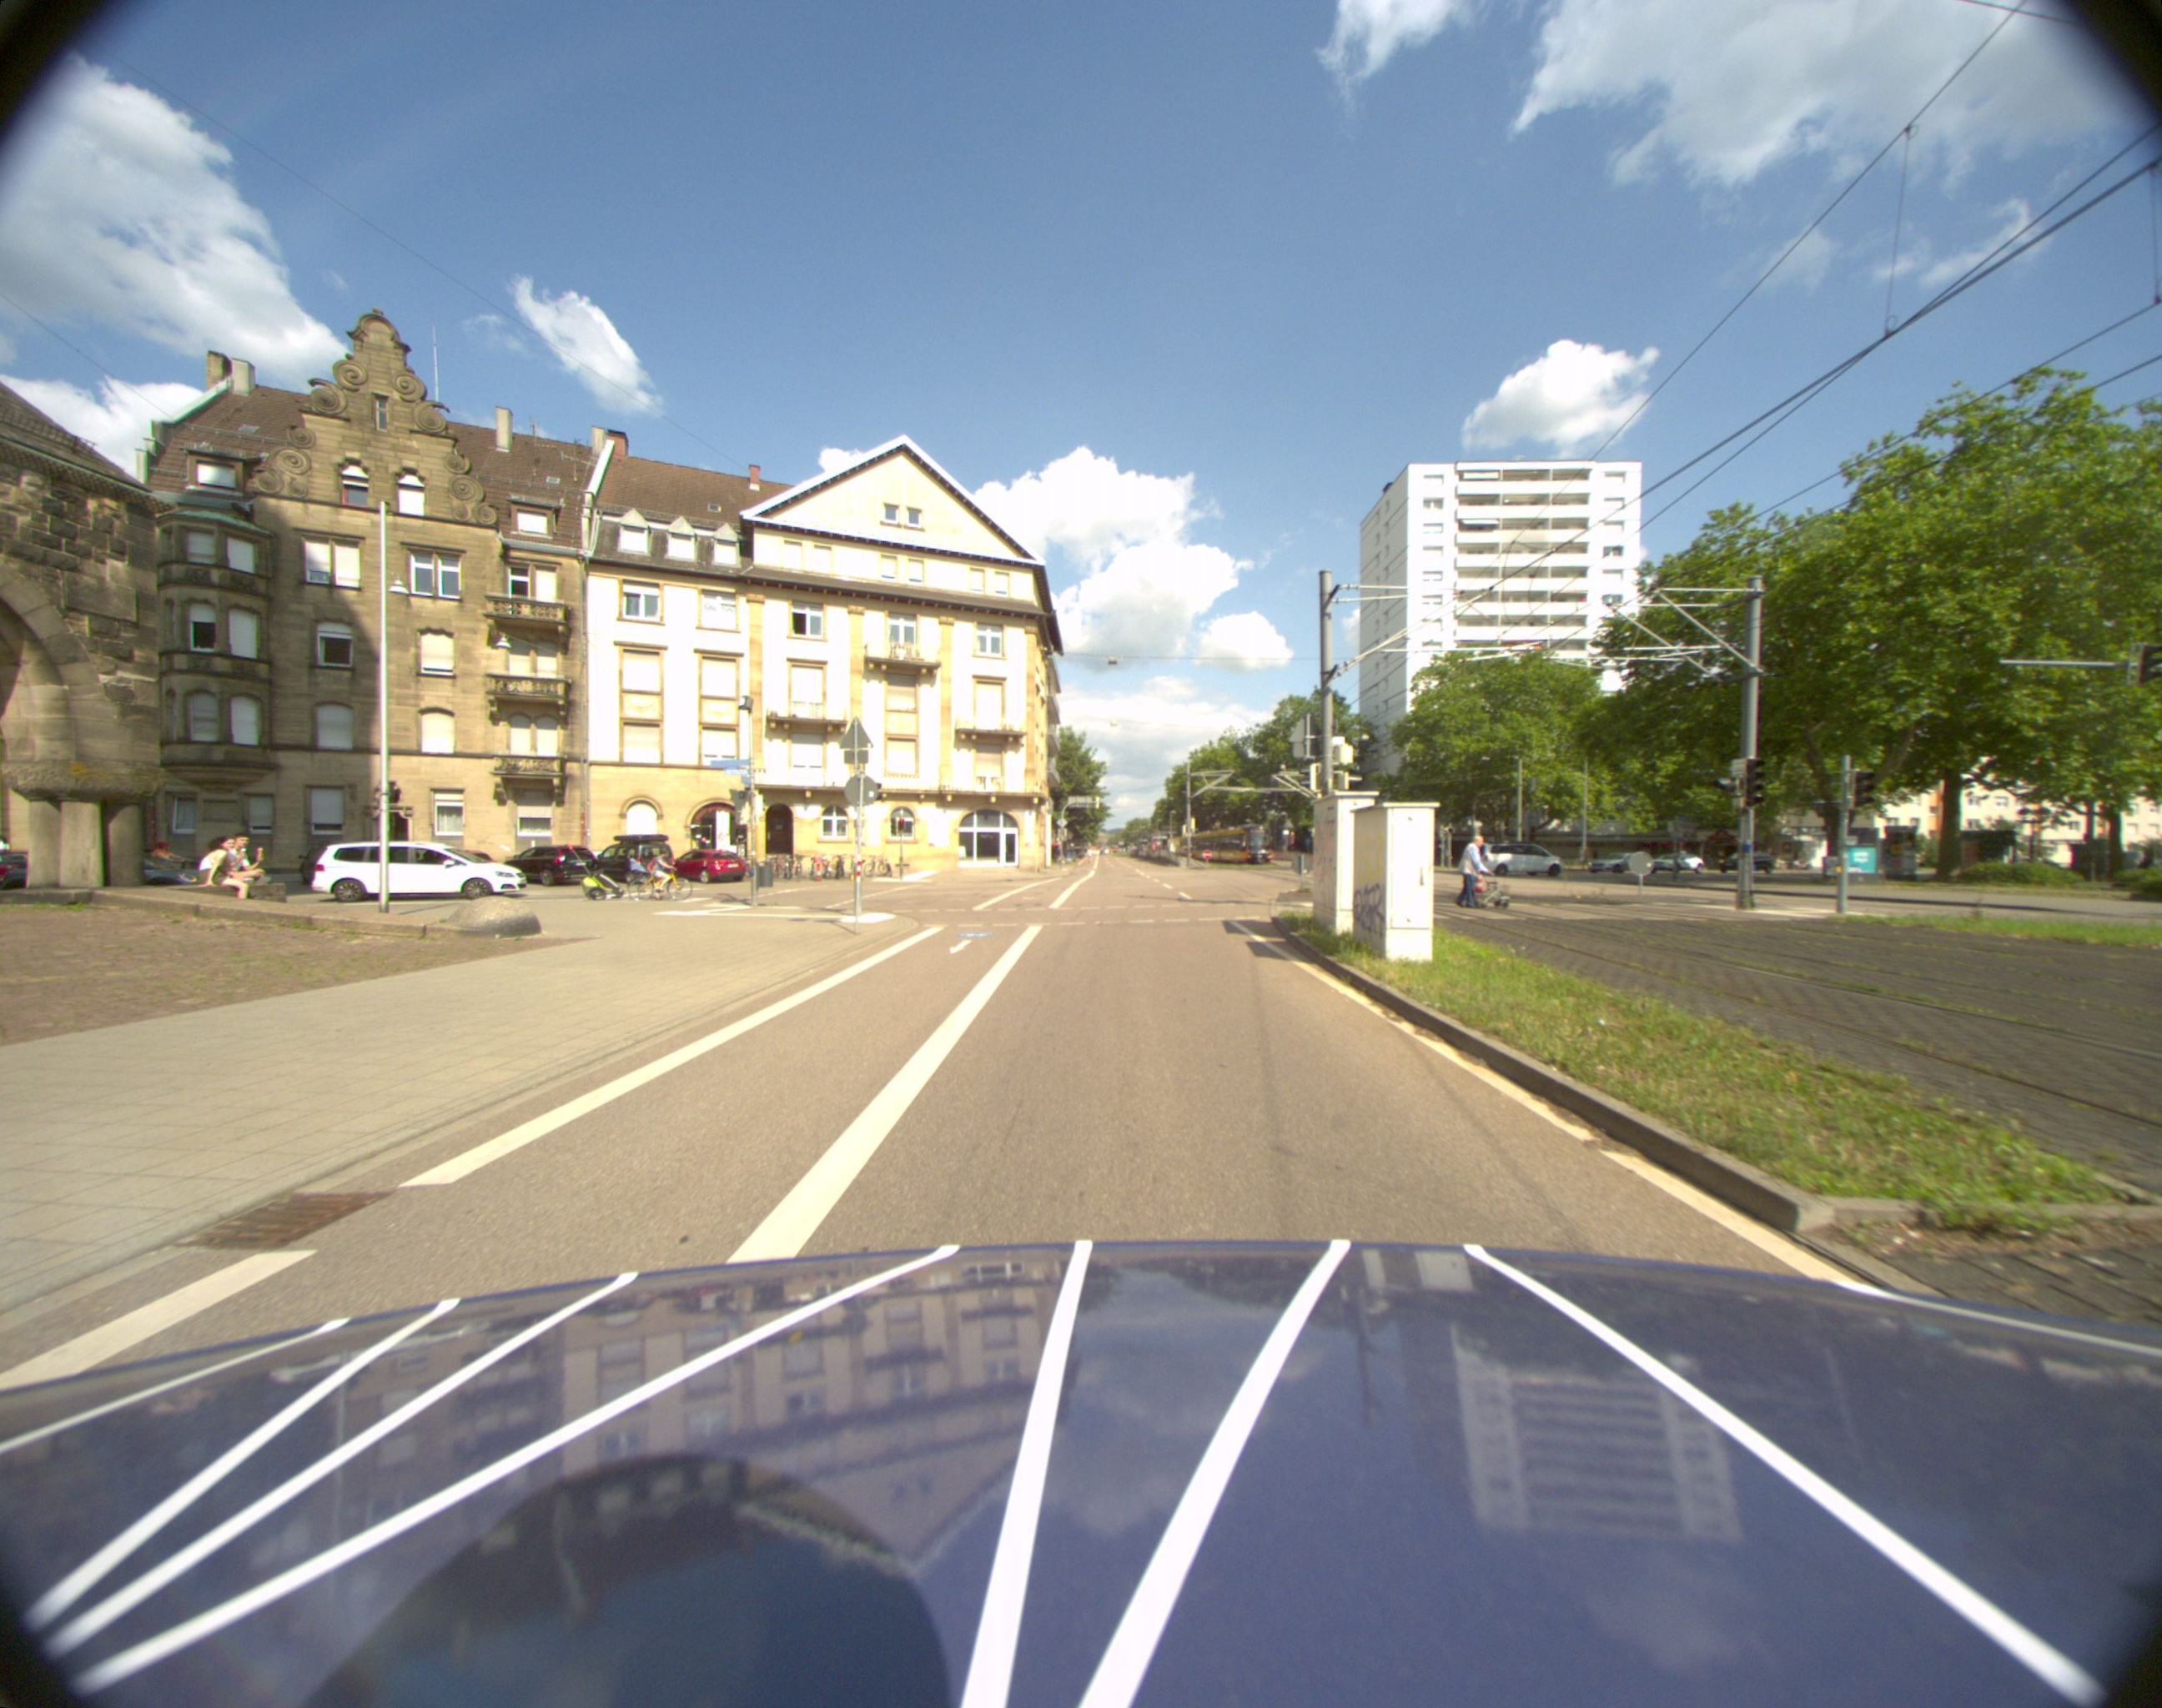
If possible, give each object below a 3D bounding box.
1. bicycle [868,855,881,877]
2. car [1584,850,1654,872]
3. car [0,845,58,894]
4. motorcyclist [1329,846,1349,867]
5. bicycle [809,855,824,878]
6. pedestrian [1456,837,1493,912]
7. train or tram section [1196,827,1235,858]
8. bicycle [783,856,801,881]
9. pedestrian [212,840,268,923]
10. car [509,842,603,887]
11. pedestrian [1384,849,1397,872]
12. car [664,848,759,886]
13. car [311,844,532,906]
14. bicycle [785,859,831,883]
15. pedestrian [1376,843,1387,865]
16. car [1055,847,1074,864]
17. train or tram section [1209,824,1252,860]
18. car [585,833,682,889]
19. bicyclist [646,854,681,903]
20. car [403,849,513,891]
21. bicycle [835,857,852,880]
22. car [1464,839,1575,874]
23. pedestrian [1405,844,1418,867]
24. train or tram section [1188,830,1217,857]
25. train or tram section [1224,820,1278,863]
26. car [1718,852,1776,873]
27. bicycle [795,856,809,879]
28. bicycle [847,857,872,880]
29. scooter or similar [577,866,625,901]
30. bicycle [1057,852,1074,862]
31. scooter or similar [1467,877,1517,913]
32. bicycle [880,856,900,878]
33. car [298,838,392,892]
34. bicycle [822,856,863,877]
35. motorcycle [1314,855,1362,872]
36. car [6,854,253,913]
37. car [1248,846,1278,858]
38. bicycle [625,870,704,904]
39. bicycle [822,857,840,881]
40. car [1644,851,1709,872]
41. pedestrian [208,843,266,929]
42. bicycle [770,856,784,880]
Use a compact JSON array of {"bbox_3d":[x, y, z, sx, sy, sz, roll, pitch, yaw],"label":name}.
[{"bbox_3d":[-10.541,0.618,38.756,0.610,1.013,1.873,0,3,-14],"label":"bicycle"},{"bbox_3d":[37.870,0.493,53.517,4.002,1.481,1.858,0,1,-15],"label":"car"},{"bbox_3d":[-36.792,0.514,26.033,3.764,1.448,1.609,3,3,30],"label":"car"},{"bbox_3d":[14.847,0.128,43.782,0.976,1.210,0.699,0,1,8],"label":"motorcyclist"},{"bbox_3d":[-13.123,0.618,37.744,0.541,1.013,1.924,-1,3,-24],"label":"bicycle"},{"bbox_3d":[9.095,0.462,17.574,0.528,1.722,0.557,0,1,-3],"label":"pedestrian"},{"bbox_3d":[16.091,-1.404,91.972,2.813,3.540,12.155,0,1,1],"label":"train or tram section"},{"bbox_3d":[-13.752,0.678,36.139,0.541,1.013,1.923,-1,4,-28],"label":"bicycle"},{"bbox_3d":[-14.794,0.481,13.379,0.557,1.398,0.519,4,-3,45],"label":"pedestrian"},{"bbox_3d":[-22.341,0.414,32.316,3.988,1.659,1.714,3,3,30],"label":"car"},{"bbox_3d":[22.896,0.496,56.225,0.671,1.693,0.648,0,1,4],"label":"pedestrian"},{"bbox_3d":[-16.842,0.554,34.619,3.988,1.433,1.971,3,3,30],"label":"car"},{"bbox_3d":[-19.601,0.563,22.876,4.669,1.730,1.811,0,1,-24],"label":"car"},{"bbox_3d":[-12.559,0.756,35.032,1.932,1.013,0.538,-2,4,-40],"label":"bicycle"},{"bbox_3d":[23.379,0.019,59.128,0.671,1.693,0.648,0,1,4],"label":"pedestrian"},{"bbox_3d":[-1.796,0.169,83.564,1.851,1.779,3.999,2,1,1],"label":"car"},{"bbox_3d":[15.670,-1.233,80.340,2.812,3.540,11.181,0,1,2],"label":"train or tram section"},{"bbox_3d":[-19.826,0.239,33.629,3.987,2.072,1.971,6,5,30],"label":"car"},{"bbox_3d":[-12.943,0.735,23.591,0.923,1.495,0.651,0,1,-28],"label":"bicyclist"},{"bbox_3d":[-25.533,0.613,31.126,3.989,1.436,1.919,2,3,25],"label":"car"},{"bbox_3d":[-11.616,0.693,37.152,0.540,1.013,1.926,0,3,-9],"label":"bicycle"},{"bbox_3d":[24.839,0.116,43.143,5.170,1.881,1.998,1,2,-5],"label":"car"},{"bbox_3d":[23.952,0.110,55.069,0.671,1.693,0.648,0,1,4],"label":"pedestrian"},{"bbox_3d":[16.351,-1.404,102.499,2.773,3.463,8.907,0,1,2],"label":"train or tram section"},{"bbox_3d":[15.219,-1.125,69.080,2.802,3.540,11.377,0,1,2],"label":"train or tram section"},{"bbox_3d":[51.411,0.625,58.661,4.004,1.610,1.687,0,1,-21],"label":"car"},{"bbox_3d":[-13.747,0.648,37.443,0.541,1.013,1.924,-1,3,-24],"label":"bicycle"},{"bbox_3d":[-10.830,0.698,37.142,0.602,1.013,1.876,1,3,3],"label":"bicycle"},{"bbox_3d":[-14.279,0.867,22.643,1.133,0.971,0.888,0,1,-28],"label":"scooter or similar"},{"bbox_3d":[-1.531,0.273,76.071,1.693,0.980,0.497,0,1,-1],"label":"bicycle"},{"bbox_3d":[9.518,0.953,17.605,0.840,0.799,0.553,0,1,-3],"label":"scooter or similar"},{"bbox_3d":[-9.791,0.645,39.005,0.611,1.013,1.872,-1,3,-26],"label":"bicycle"},{"bbox_3d":[-28.742,0.364,29.644,3.987,1.815,1.920,3,4,36],"label":"car"},{"bbox_3d":[-12.157,0.620,38.736,1.930,1.013,0.539,0,4,-20],"label":"bicycle"},{"bbox_3d":[14.796,0.540,43.812,2.502,0.971,0.699,0,1,8],"label":"motorcycle"},{"bbox_3d":[-25.207,0.737,20.330,3.741,1.442,1.671,0,1,-24],"label":"car"},{"bbox_3d":[21.962,-0.256,91.822,1.862,1.481,3.843,0,1,-17],"label":"car"},{"bbox_3d":[-12.908,0.998,23.610,2.137,0.983,0.651,0,1,-28],"label":"bicycle"},{"bbox_3d":[-12.127,0.695,36.827,0.540,1.013,1.926,0,3,-9],"label":"bicycle"},{"bbox_3d":[43.861,0.529,55.934,4.080,1.481,1.858,0,1,-20],"label":"car"},{"bbox_3d":[-14.400,0.545,12.974,0.557,1.398,0.519,4,-3,45],"label":"pedestrian"},{"bbox_3d":[-14.677,0.654,36.703,0.541,1.013,1.924,-1,3,-24],"label":"bicycle"}]
